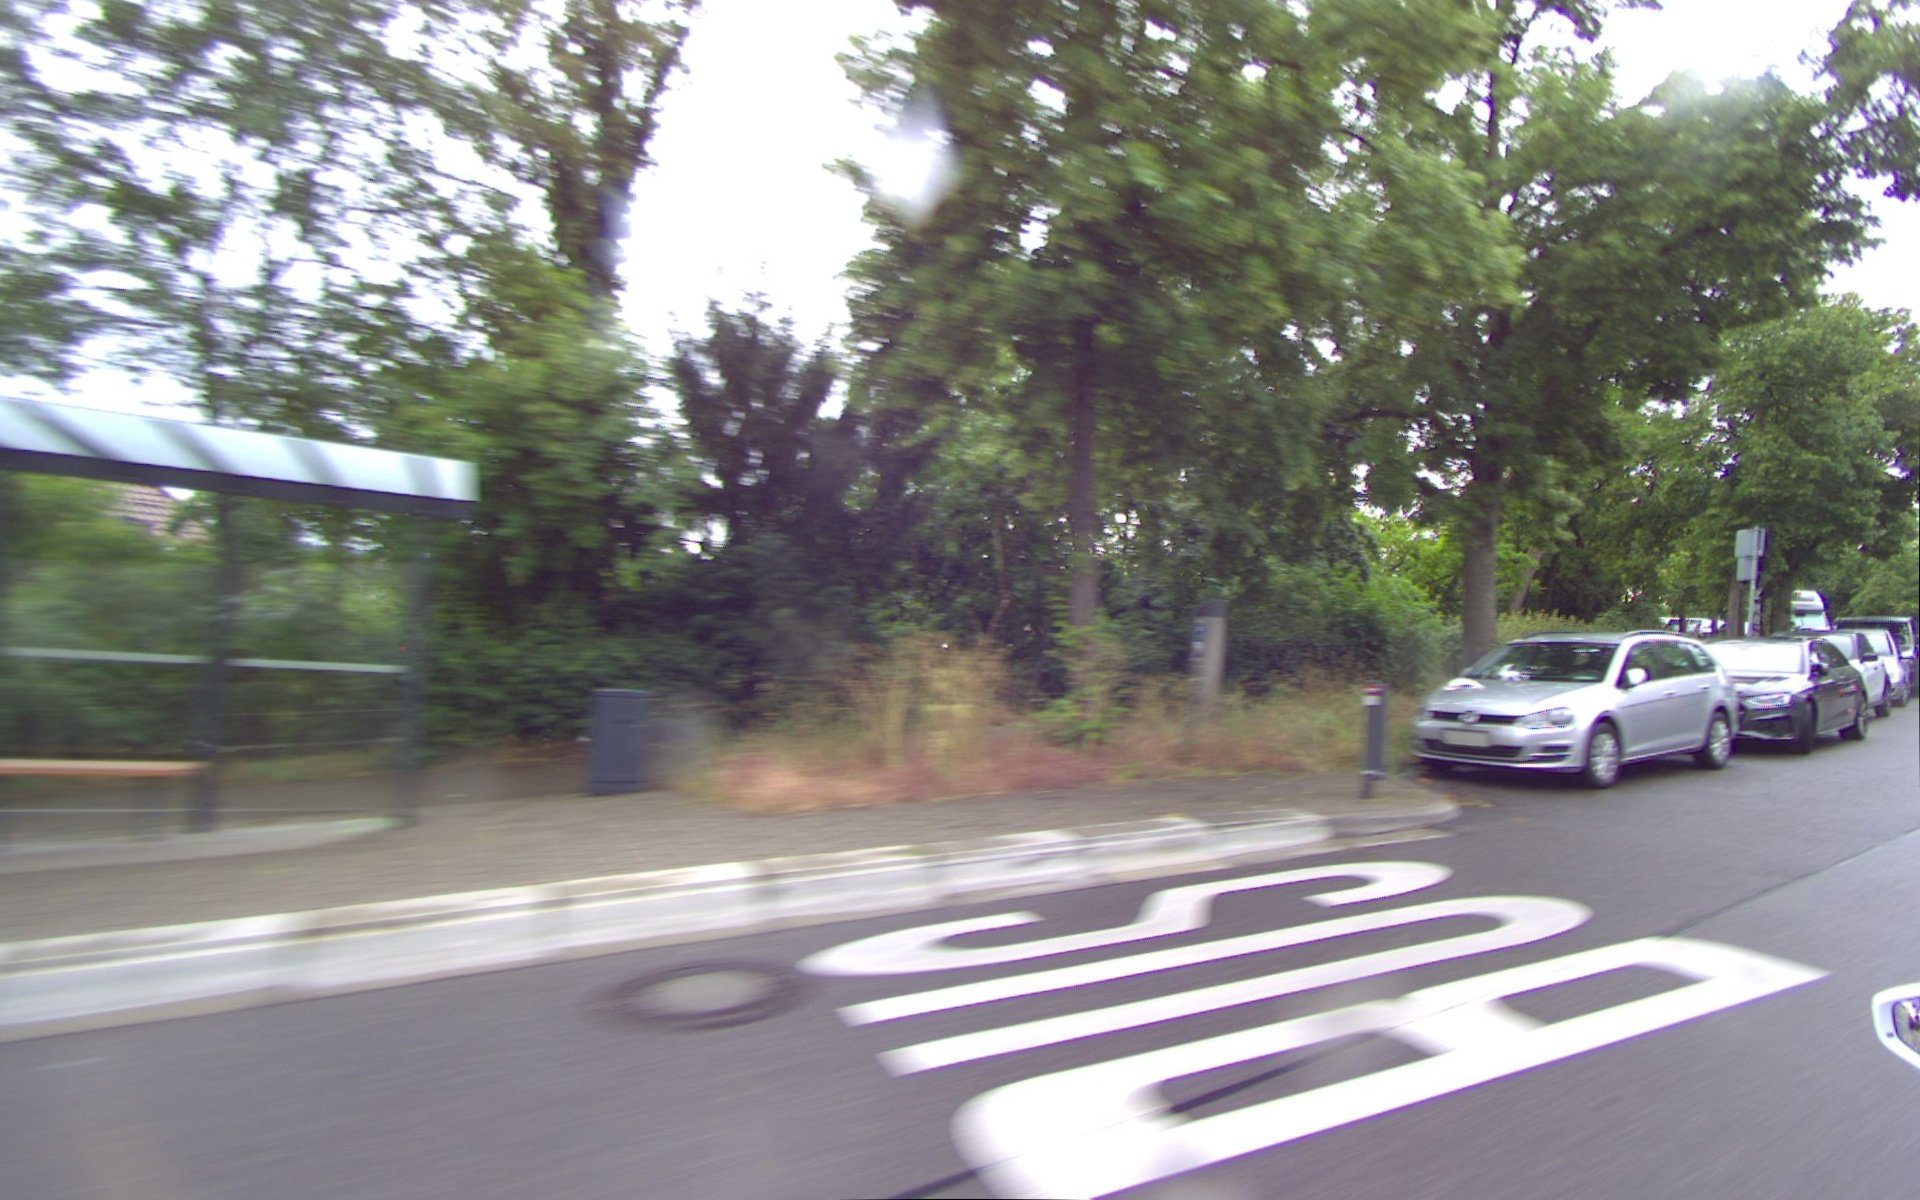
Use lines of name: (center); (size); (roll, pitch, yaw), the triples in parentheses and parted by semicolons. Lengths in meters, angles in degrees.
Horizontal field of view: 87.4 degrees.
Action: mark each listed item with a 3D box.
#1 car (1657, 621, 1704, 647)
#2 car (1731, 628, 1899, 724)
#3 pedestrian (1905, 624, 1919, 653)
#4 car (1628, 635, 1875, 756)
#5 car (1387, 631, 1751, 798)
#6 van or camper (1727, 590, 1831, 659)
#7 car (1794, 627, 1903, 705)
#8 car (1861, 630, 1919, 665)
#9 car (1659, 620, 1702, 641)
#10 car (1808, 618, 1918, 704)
car: (45.571, 2.120, 63.574); (1.965, 1.424, 4.703); (1, 1, 31)
car: (15.453, 1.308, 18.087); (4.173, 1.529, 1.669); (2, -3, -41)
pedestrian: (53.180, 2.132, 56.045); (0.544, 1.587, 0.486); (1, 0, 32)
car: (10.913, 1.204, 13.736); (4.462, 1.398, 1.671); (2, -3, -39)
car: (6.615, 1.073, 10.771); (4.328, 1.448, 1.646); (1, -1, -33)
van or camper: (39.391, 1.192, 48.525); (2.468, 3.066, 6.553); (-2, -2, 27)
car: (19.682, 1.425, 22.215); (1.666, 1.573, 3.745); (-2, -4, 43)
car: (47.840, 2.414, 51.429); (1.795, 1.638, 3.778); (2, 0, 30)
car: (51.833, 2.194, 72.328); (1.964, 1.424, 4.706); (1, -1, 29)
car: (23.671, 1.510, 26.264); (1.934, 1.994, 4.971); (-2, -2, 44)
